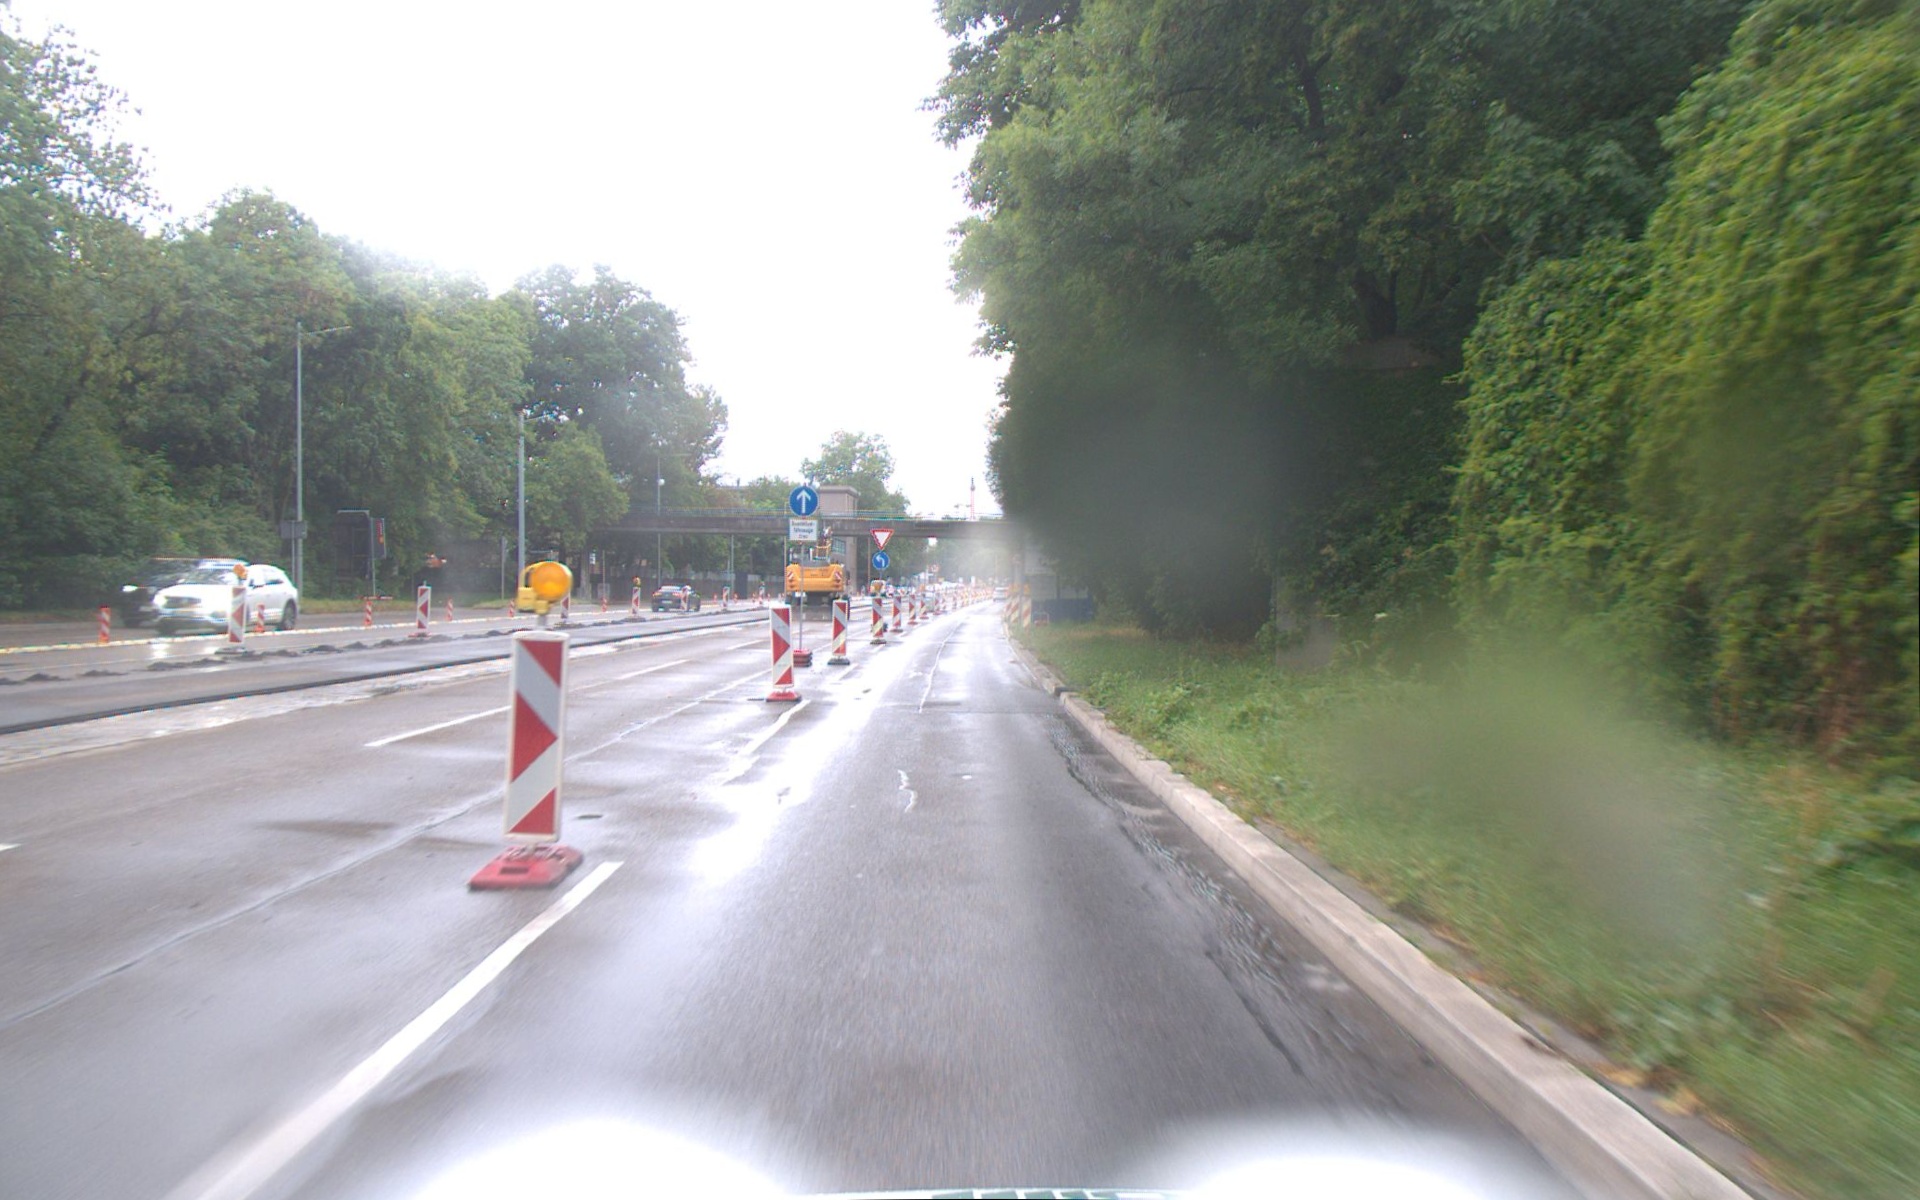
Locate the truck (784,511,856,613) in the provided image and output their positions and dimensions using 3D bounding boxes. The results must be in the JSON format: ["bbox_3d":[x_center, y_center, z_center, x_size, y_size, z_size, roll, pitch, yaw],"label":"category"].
[{"bbox_3d":[-6.391,-1.697,76.859,2.839,4.333,10.750,1,1,-3],"label":"truck"}]

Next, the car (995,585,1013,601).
[{"bbox_3d":[4.875,-0.755,181.526,1.952,1.668,4.001,0,0,2],"label":"car"}]

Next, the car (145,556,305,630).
[{"bbox_3d":[-18.163,-0.177,41.148,1.851,1.690,4.892,1,1,-1],"label":"car"}]
